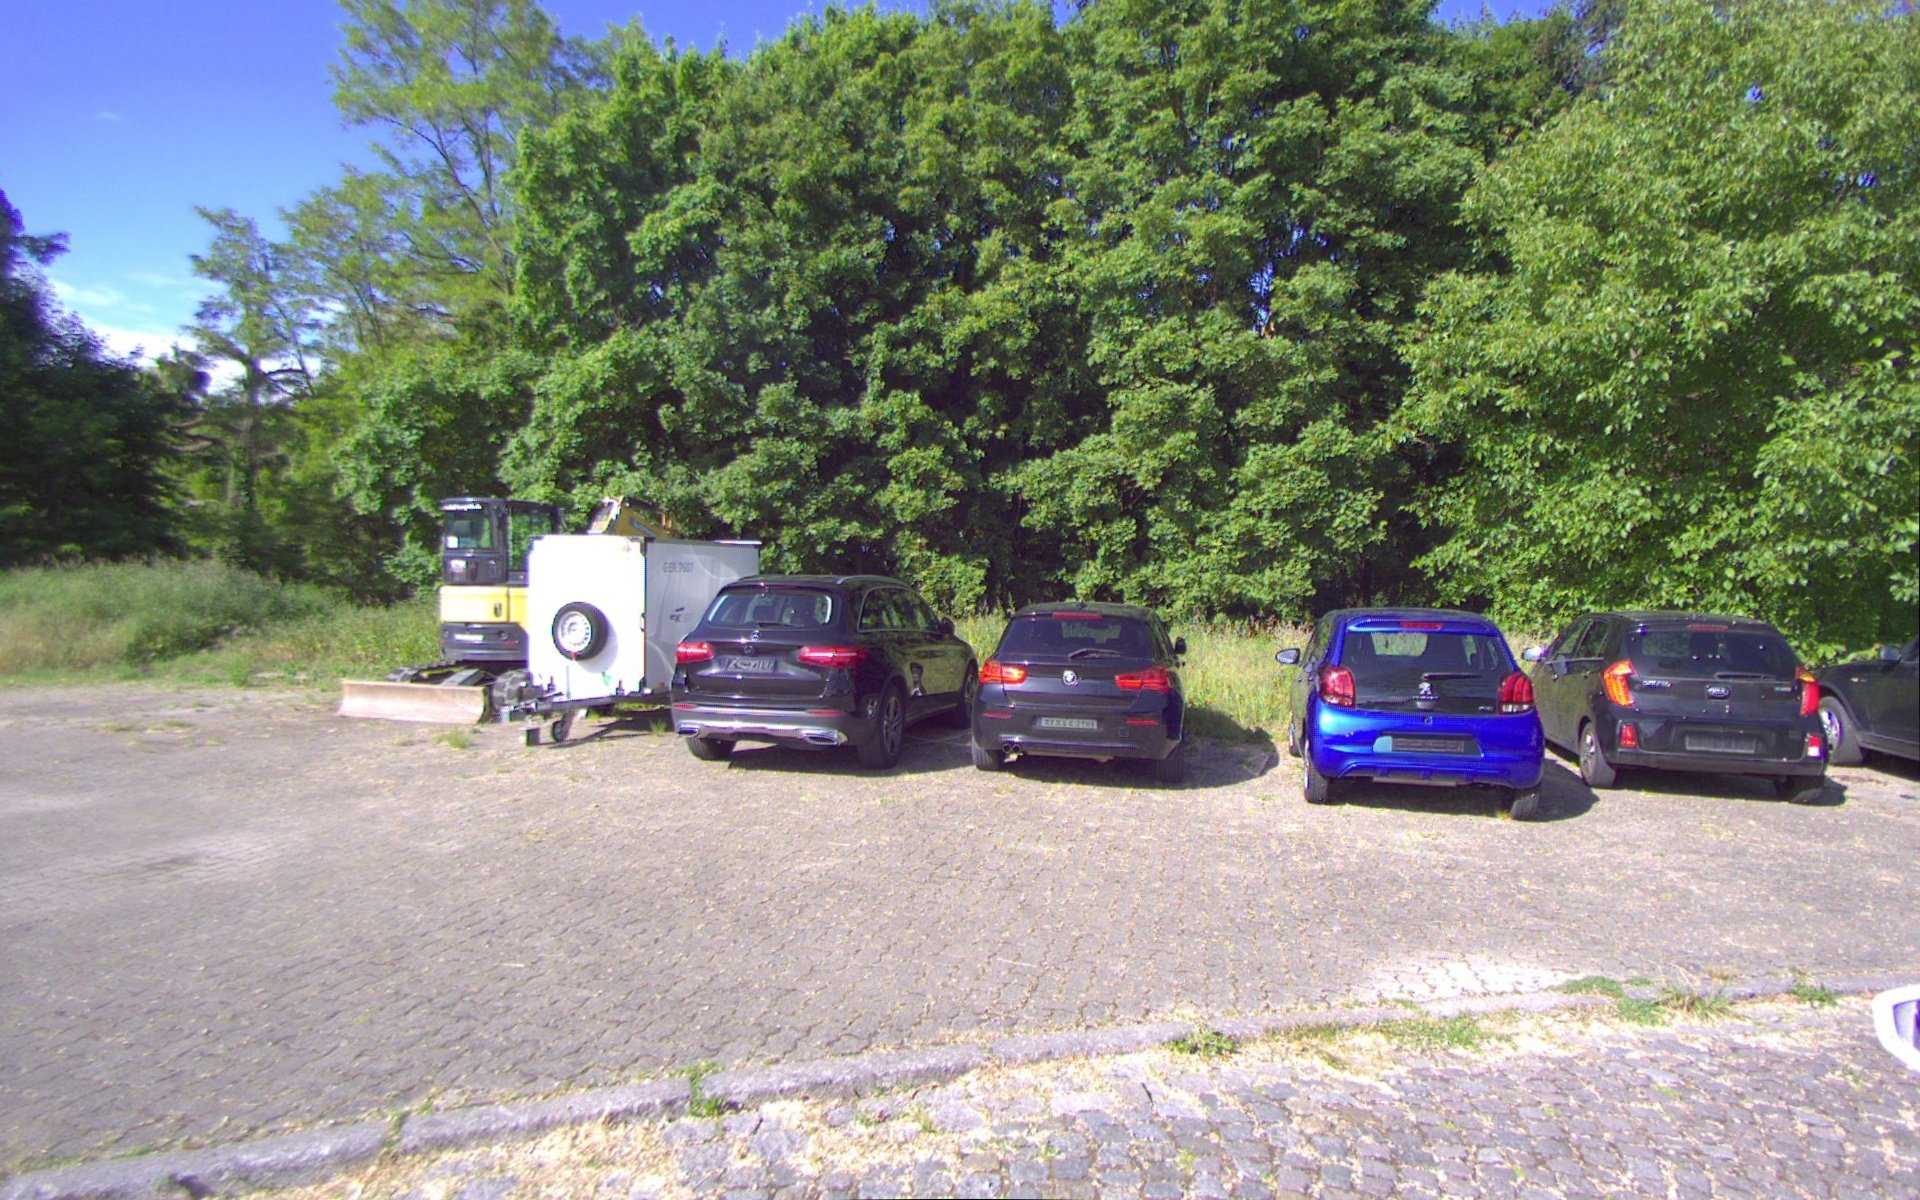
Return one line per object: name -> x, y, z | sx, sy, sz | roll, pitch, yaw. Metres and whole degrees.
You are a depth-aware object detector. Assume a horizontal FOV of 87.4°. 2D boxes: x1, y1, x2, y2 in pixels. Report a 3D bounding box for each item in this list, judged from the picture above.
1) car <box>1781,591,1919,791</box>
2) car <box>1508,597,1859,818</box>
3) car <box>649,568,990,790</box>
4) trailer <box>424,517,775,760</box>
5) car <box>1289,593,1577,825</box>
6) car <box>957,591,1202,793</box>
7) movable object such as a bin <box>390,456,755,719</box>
car -> 8.972, 0.782, 8.241 | 1.781, 1.678, 4.192 | 1, 1, 13
car -> 6.407, 0.790, 9.371 | 1.645, 1.536, 3.551 | 2, 2, 19
car -> -1.080, 0.595, 9.637 | 1.830, 1.663, 3.822 | 1, 0, 16
trailer -> -3.612, 0.307, 10.898 | 1.606, 2.122, 3.974 | 1, 1, 15
car -> 3.811, 0.739, 8.701 | 1.680, 1.513, 3.665 | 1, 0, 16
car -> 1.303, 0.684, 9.373 | 1.797, 1.470, 3.665 | 1, 0, 14
movable object such as a bin -> -5.106, -0.116, 14.247 | 1.960, 3.005, 5.165 | 1, -1, 19
